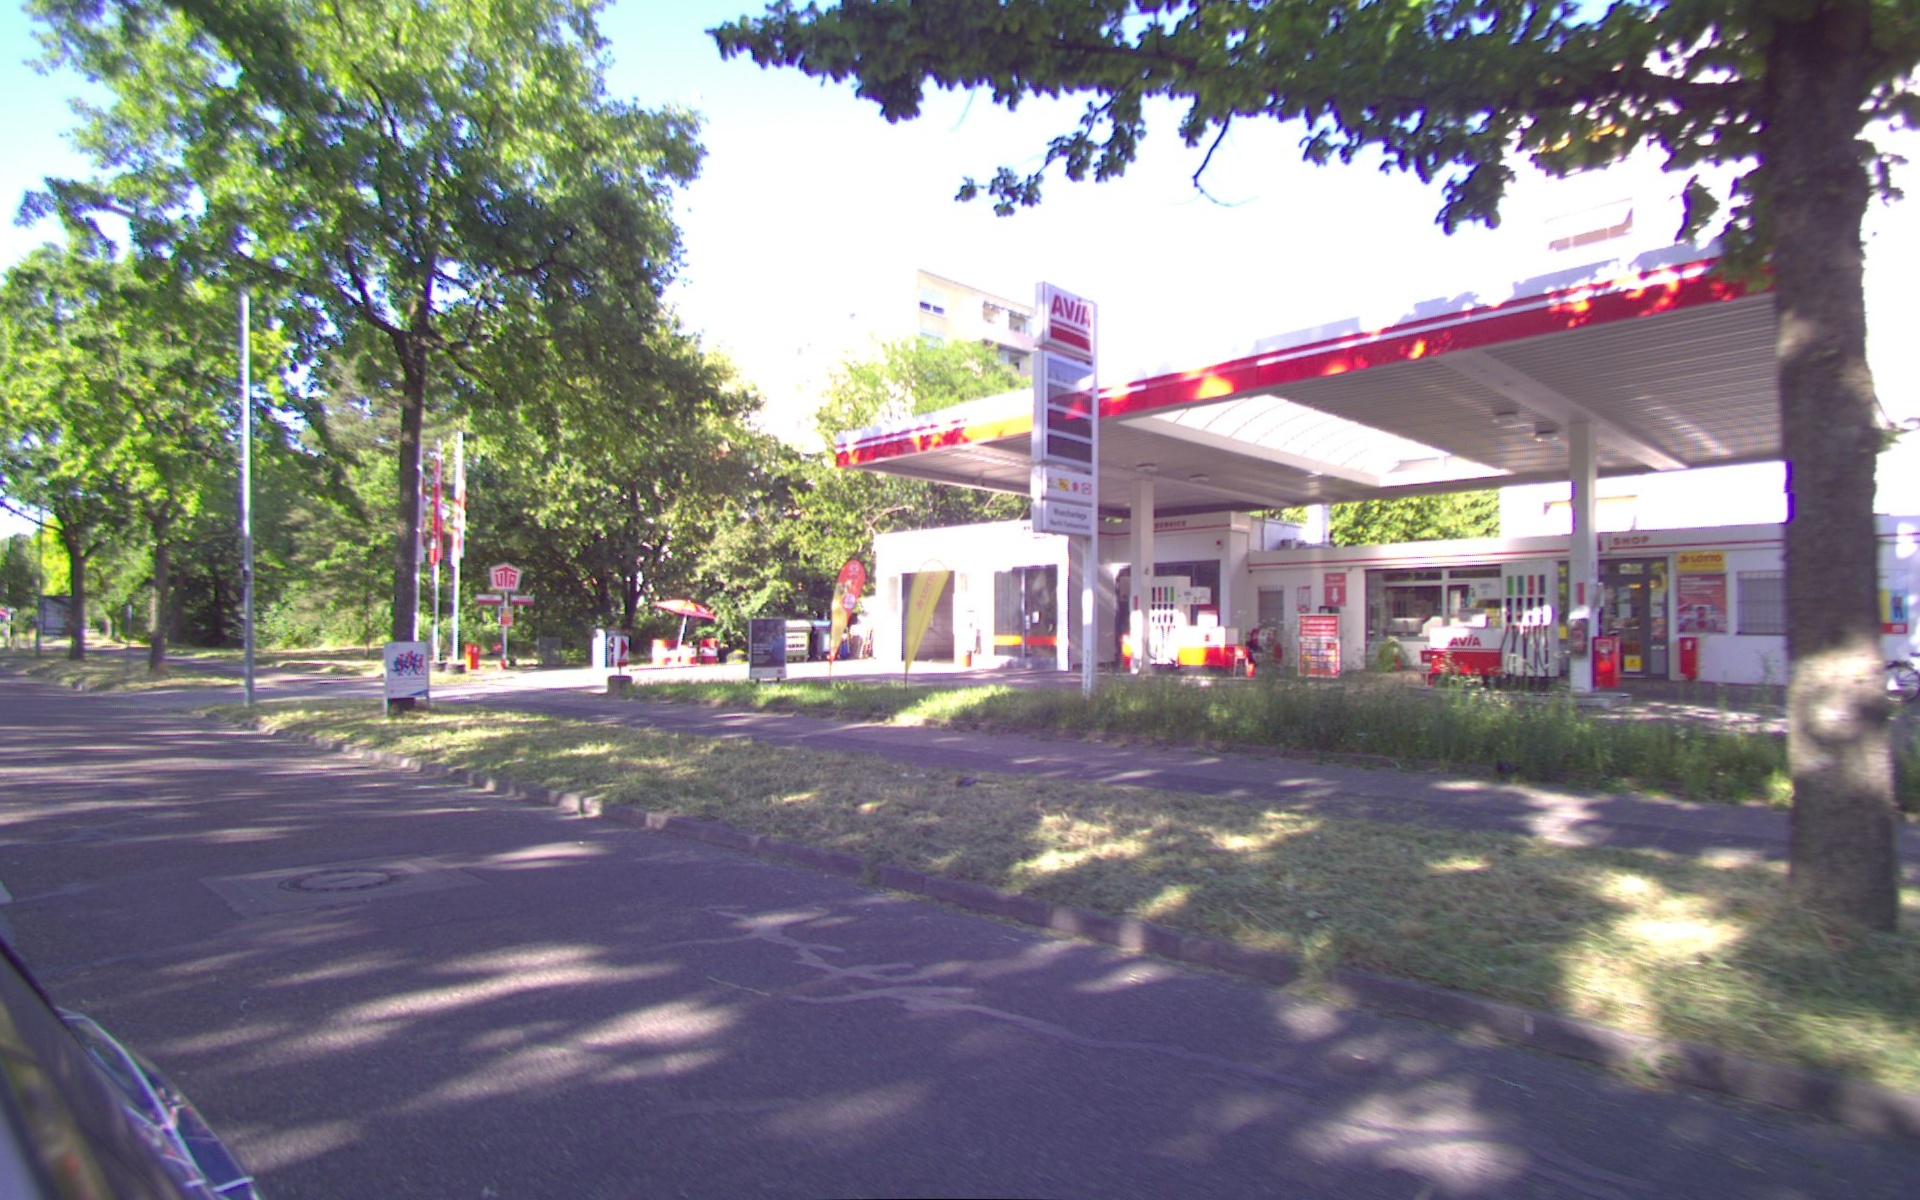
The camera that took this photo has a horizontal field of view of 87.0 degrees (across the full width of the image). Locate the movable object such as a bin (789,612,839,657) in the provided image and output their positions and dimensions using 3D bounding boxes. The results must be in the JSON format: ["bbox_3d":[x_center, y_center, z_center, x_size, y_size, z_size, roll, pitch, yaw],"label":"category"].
[{"bbox_3d":[-5.168,1.213,35.775,1.163,1.553,1.290,-1,-1,41],"label":"movable object such as a bin"}]

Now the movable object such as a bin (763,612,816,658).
[{"bbox_3d":[-5.900,1.207,34.972,1.267,1.553,1.290,-1,-2,41],"label":"movable object such as a bin"}]

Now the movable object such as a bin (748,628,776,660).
[{"bbox_3d":[-6.707,1.480,34.266,0.768,1.094,0.562,-1,-2,41],"label":"movable object such as a bin"}]

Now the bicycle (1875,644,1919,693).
[{"bbox_3d":[16.761,1.172,17.129,0.609,0.813,1.784,1,-2,-34],"label":"bicycle"}]
